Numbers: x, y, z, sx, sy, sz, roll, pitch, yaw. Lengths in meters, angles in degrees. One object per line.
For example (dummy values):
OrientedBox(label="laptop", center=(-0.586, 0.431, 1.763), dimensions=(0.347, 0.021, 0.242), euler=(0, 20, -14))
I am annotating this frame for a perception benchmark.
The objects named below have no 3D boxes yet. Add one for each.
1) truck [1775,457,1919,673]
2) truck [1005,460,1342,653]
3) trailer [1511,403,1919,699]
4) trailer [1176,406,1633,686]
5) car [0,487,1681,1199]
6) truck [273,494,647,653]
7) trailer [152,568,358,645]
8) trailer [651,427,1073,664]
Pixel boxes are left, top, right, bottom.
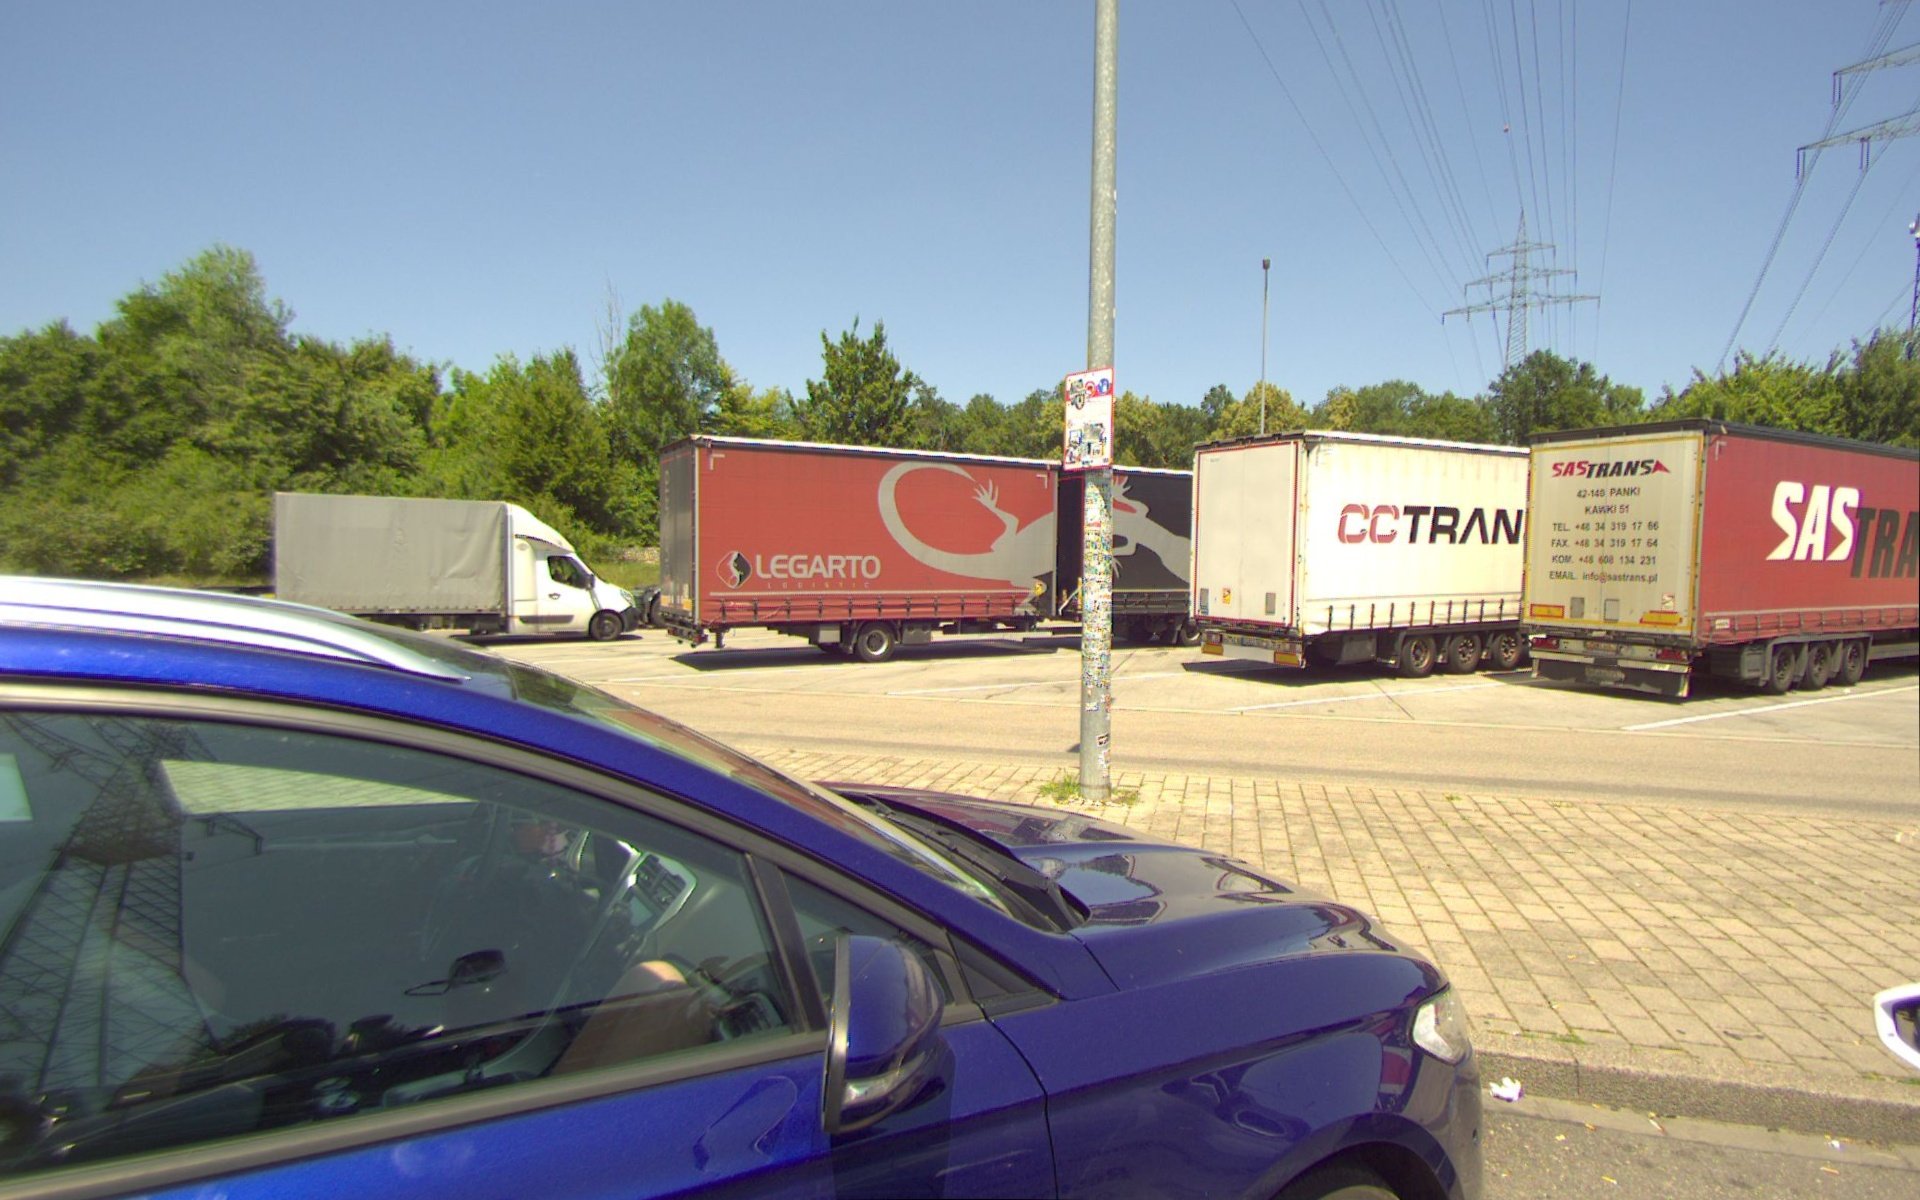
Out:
OrientedBox(label="truck", center=(20.811, -0.672, 21.748), dimensions=(6.749, 4.136, 2.729), euler=(0, 1, -31))
OrientedBox(label="truck", center=(5.394, -0.908, 24.561), dimensions=(8.534, 4.073, 2.624), euler=(0, 1, -30))
OrientedBox(label="trailer", center=(15.312, -0.668, 18.497), dimensions=(13.129, 4.112, 2.736), euler=(0, 1, -31))
OrientedBox(label="trailer", center=(8.703, -0.828, 19.085), dimensions=(9.614, 4.321, 2.733), euler=(0, 1, -29))
OrientedBox(label="car", center=(-1.020, 0.654, 1.444), dimensions=(4.419, 1.485, 1.765), euler=(0, 1, -32))
OrientedBox(label="truck", center=(-11.102, -0.551, 22.855), dimensions=(7.265, 3.170, 2.352), euler=(0, 1, -30))
OrientedBox(label="trailer", center=(-16.518, 0.149, 23.770), dimensions=(3.856, 1.684, 1.464), euler=(0, 1, -30))
OrientedBox(label="trailer", center=(-1.799, -0.916, 20.290), dimensions=(8.158, 4.027, 2.651), euler=(0, 1, -30))
